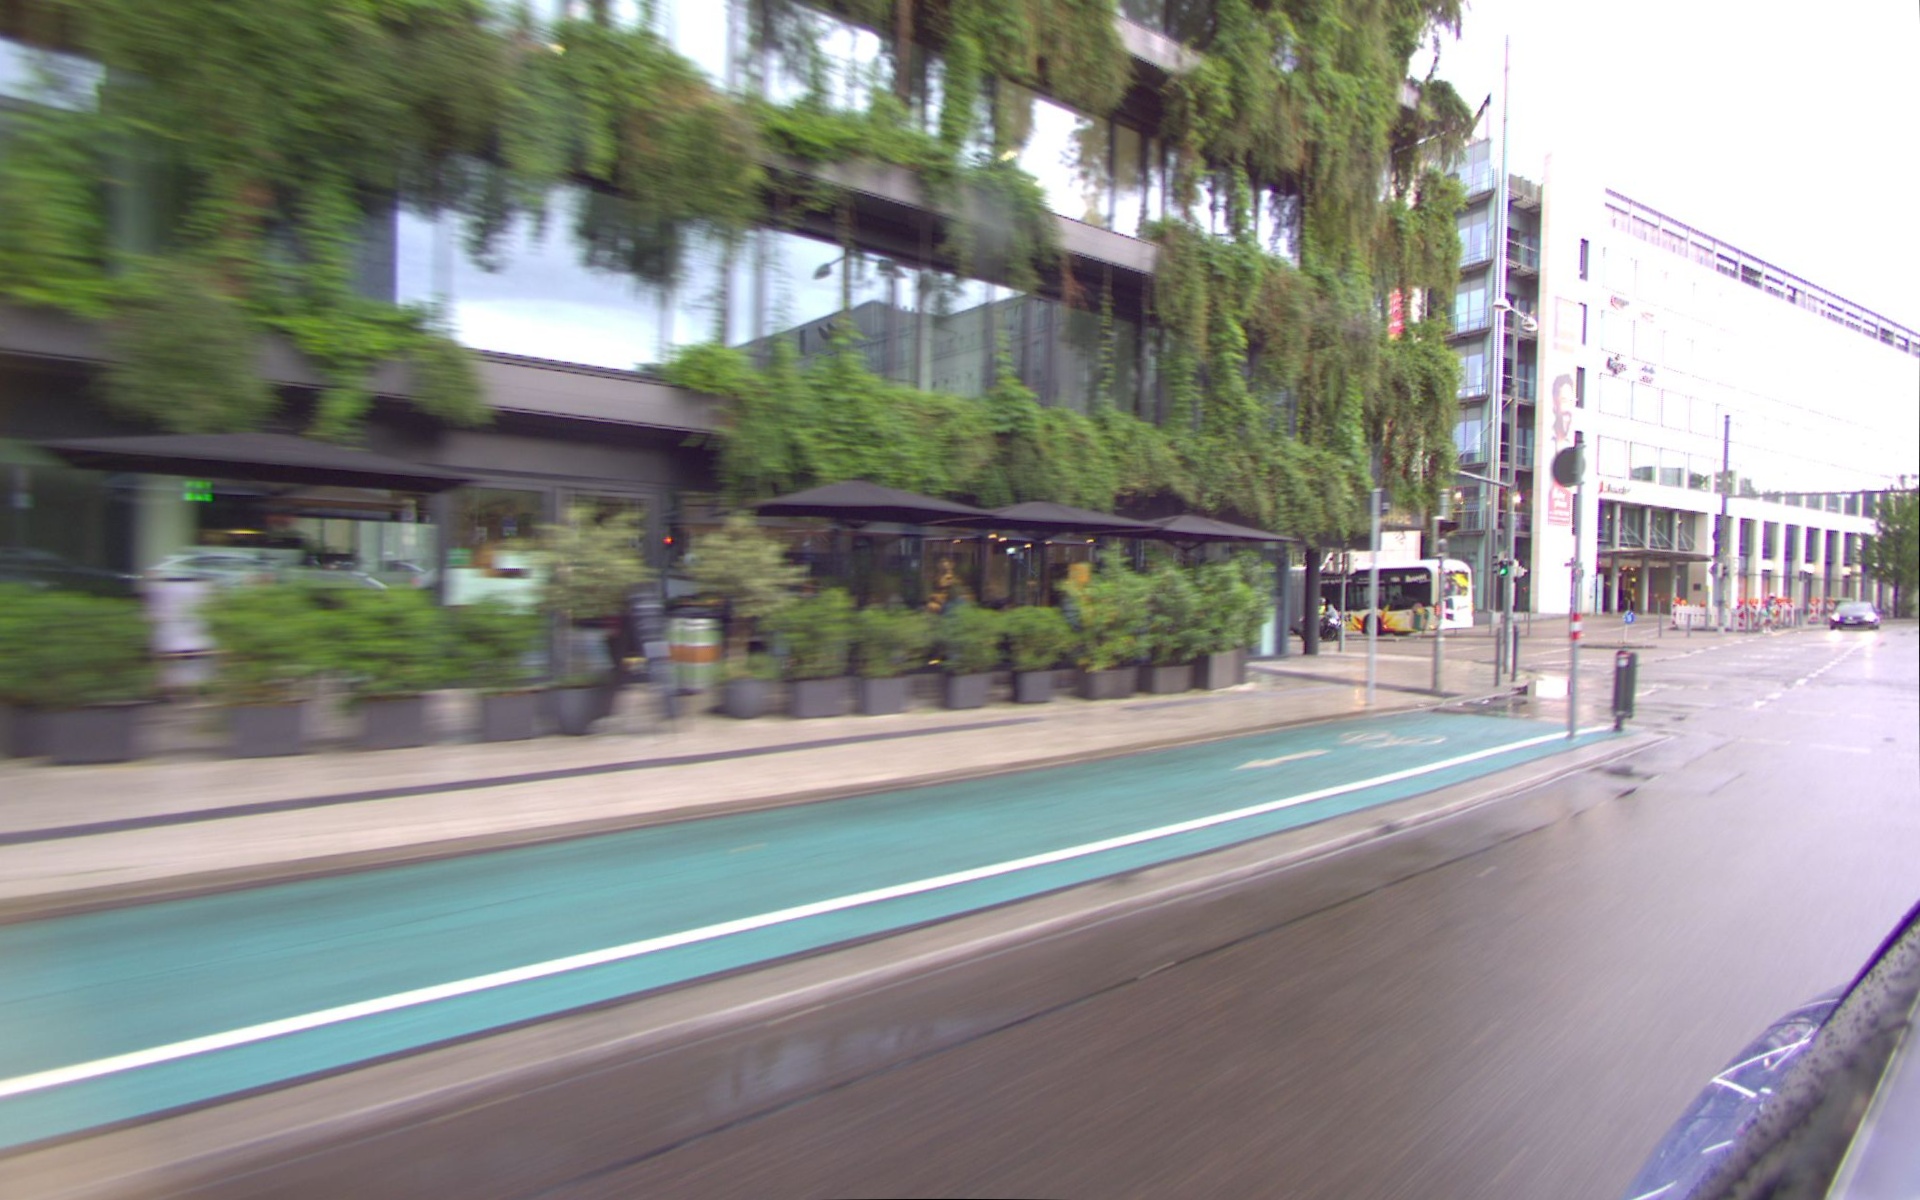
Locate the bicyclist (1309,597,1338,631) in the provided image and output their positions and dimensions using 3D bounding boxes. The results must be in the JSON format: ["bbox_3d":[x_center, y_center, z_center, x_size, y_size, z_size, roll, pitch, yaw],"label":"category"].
[{"bbox_3d":[14.641,0.562,40.731,0.779,1.353,0.744,0,-1,-25],"label":"bicyclist"}]

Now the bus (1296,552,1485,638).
[{"bbox_3d":[19.689,-0.202,46.872,2.633,3.634,8.095,1,0,-30],"label":"bus"}]

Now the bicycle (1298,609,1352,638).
[{"bbox_3d":[14.646,0.928,40.655,0.792,1.150,2.094,0,-1,-24],"label":"bicycle"}]

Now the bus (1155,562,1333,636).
[{"bbox_3d":[15.056,-0.029,54.749,2.633,3.634,10.330,1,0,-31],"label":"bus"}]

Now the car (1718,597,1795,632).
[{"bbox_3d":[38.376,0.682,48.732,4.582,1.572,1.740,0,1,-36],"label":"car"}]

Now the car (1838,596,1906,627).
[{"bbox_3d":[47.243,0.574,52.396,4.583,1.572,1.740,0,-1,-36],"label":"car"}]
